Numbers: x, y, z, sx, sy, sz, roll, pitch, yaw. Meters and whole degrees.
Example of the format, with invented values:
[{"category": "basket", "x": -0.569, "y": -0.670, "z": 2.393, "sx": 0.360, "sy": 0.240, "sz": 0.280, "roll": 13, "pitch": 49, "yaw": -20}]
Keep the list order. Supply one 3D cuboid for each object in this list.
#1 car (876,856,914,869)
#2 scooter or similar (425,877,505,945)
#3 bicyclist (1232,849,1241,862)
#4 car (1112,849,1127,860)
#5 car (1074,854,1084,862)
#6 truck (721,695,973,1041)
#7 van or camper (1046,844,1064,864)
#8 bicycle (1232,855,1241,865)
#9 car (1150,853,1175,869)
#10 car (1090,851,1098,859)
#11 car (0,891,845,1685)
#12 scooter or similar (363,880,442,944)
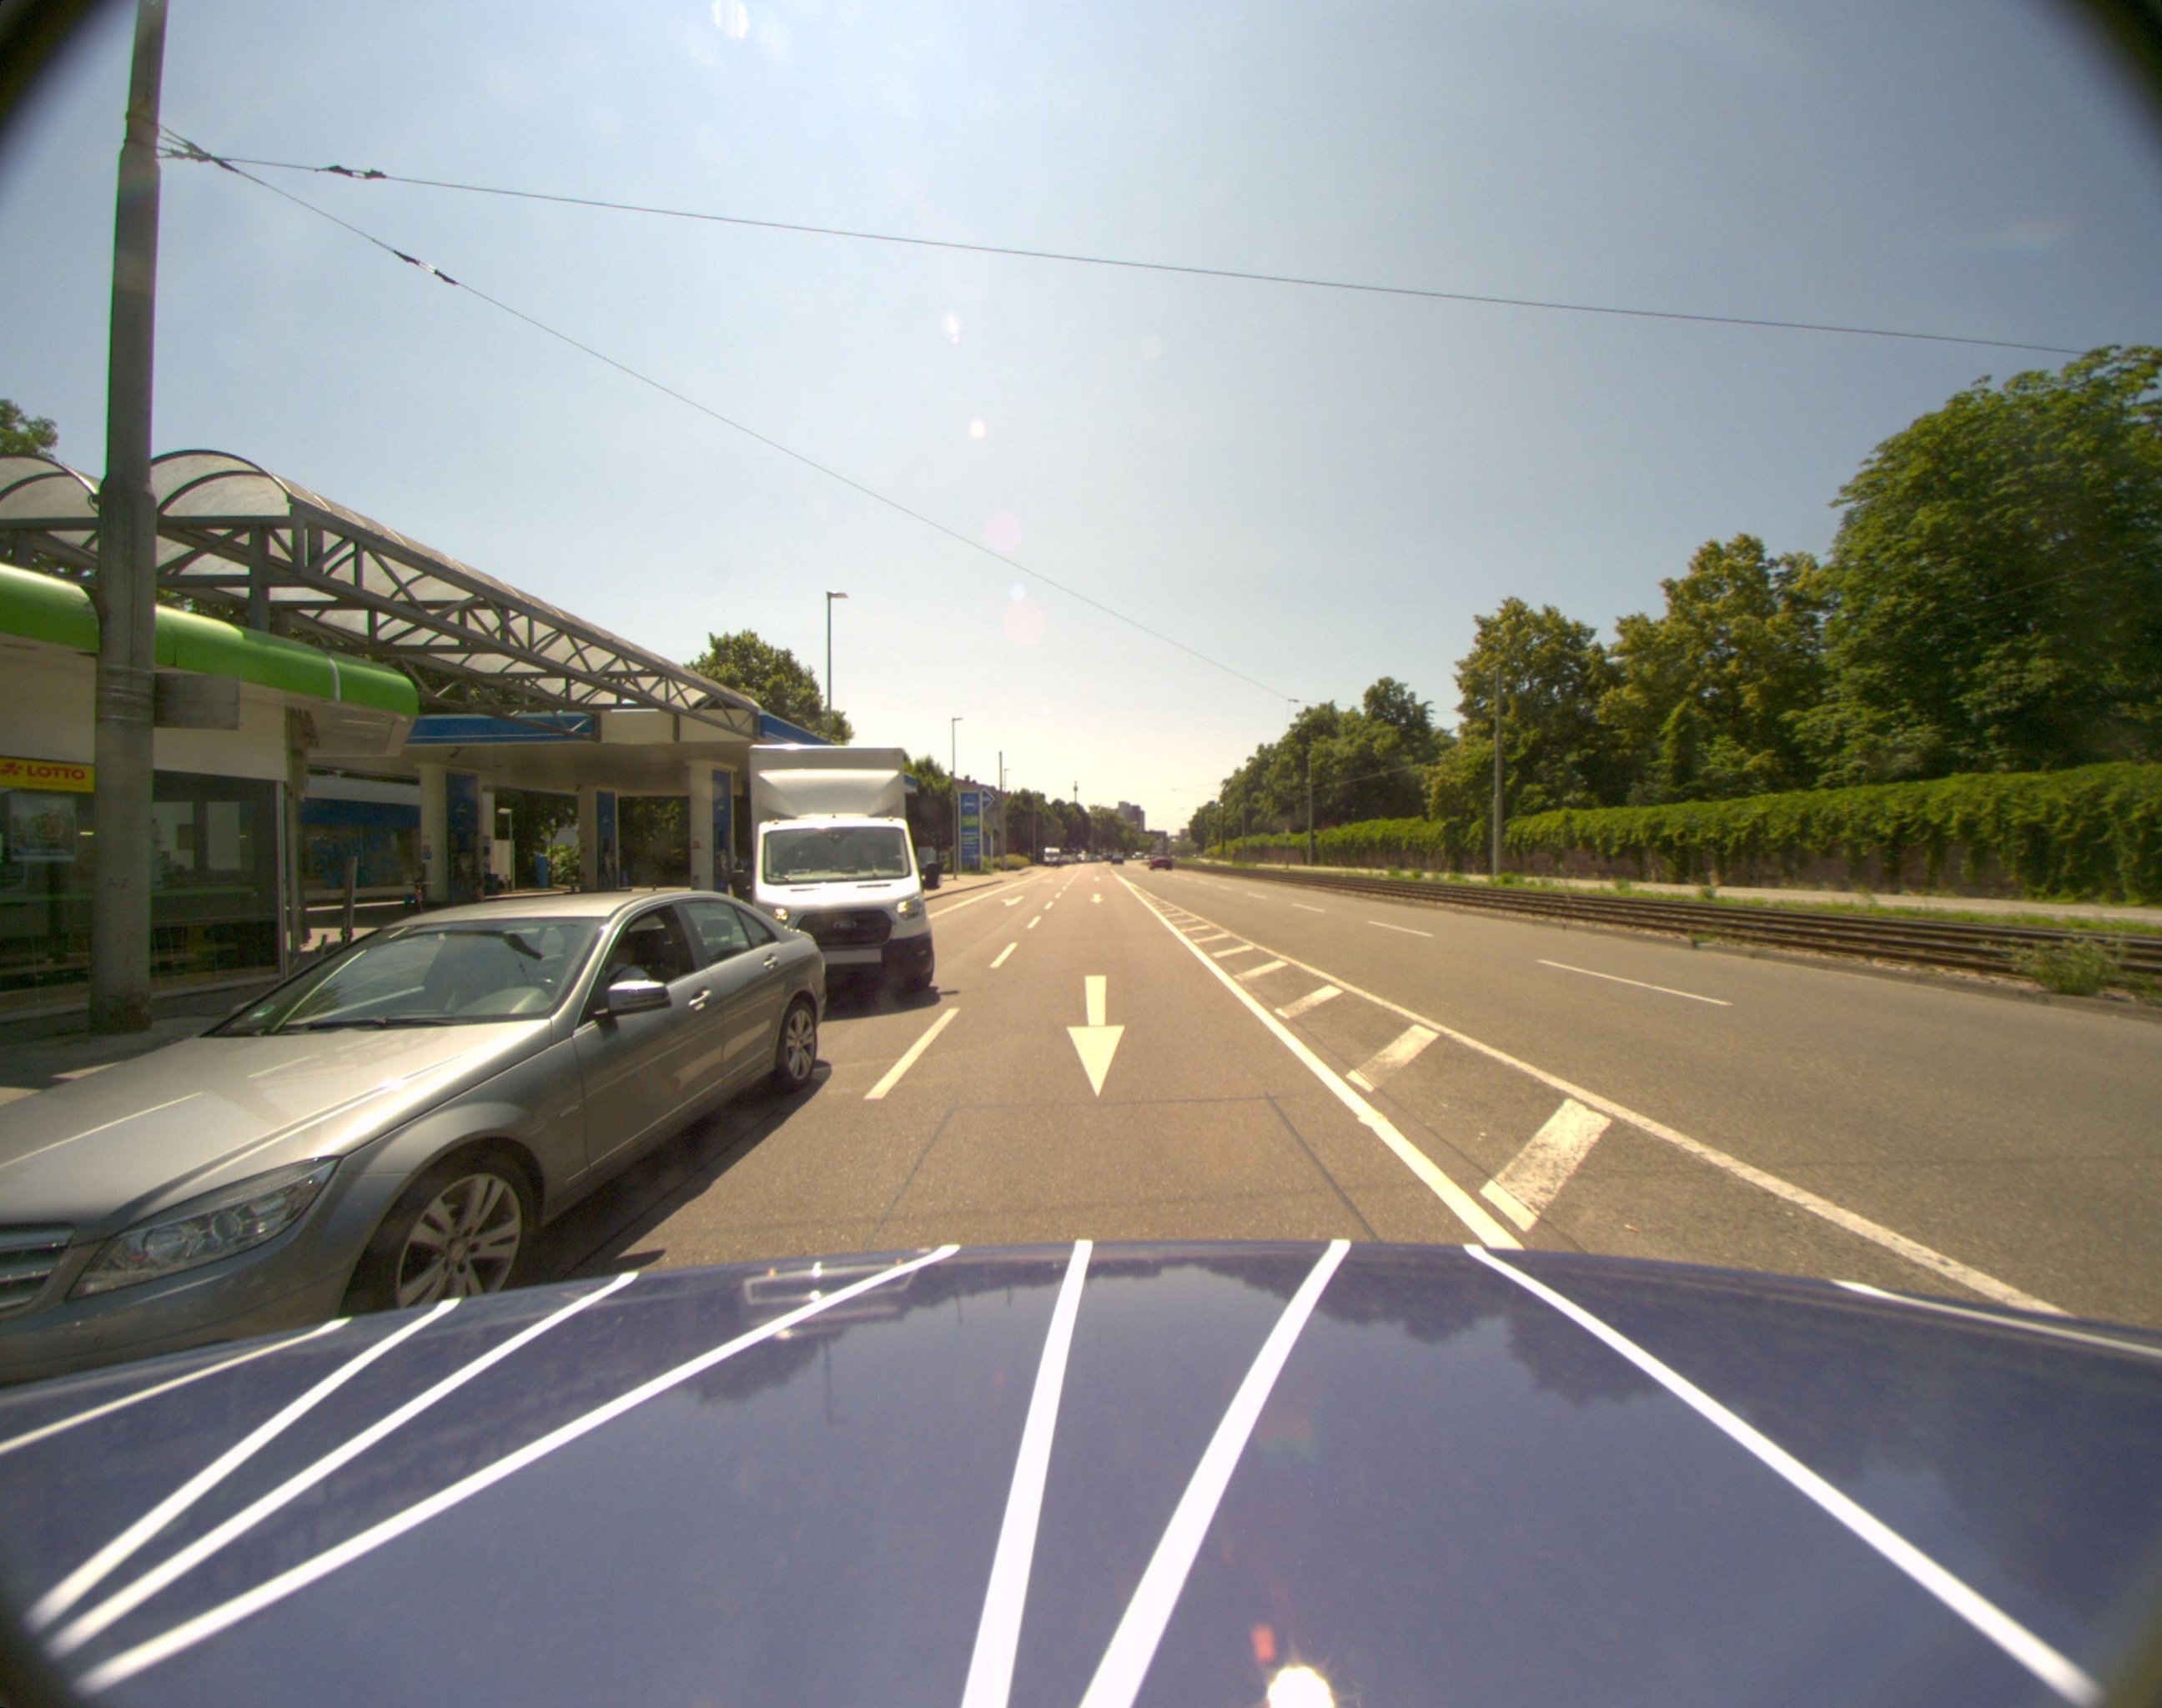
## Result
[{"category": "car", "x": -23.491, "y": 1.030, "z": 96.016, "sx": 4.221, "sy": 1.512, "sz": 2.001, "roll": -1, "pitch": 0, "yaw": 9}, {"category": "scooter or similar", "x": -11.679, "y": 1.070, "z": 14.418, "sx": 1.176, "sy": 1.233, "sz": 0.412, "roll": -1, "pitch": 1, "yaw": 2}, {"category": "bicyclist", "x": 18.949, "y": 0.194, "z": 92.711, "sx": 0.996, "sy": 1.477, "sz": 1.000, "roll": -1, "pitch": 1, "yaw": 6}, {"category": "car", "x": 5.672, "y": 0.068, "z": 111.314, "sx": 1.998, "sy": 1.608, "sz": 4.000, "roll": -1, "pitch": 0, "yaw": 1}, {"category": "car", "x": -0.427, "y": 0.791, "z": 150.452, "sx": 1.725, "sy": 1.586, "sz": 4.001, "roll": -1, "pitch": 0, "yaw": 4}, {"category": "truck", "x": -3.722, "y": 0.128, "z": 11.486, "sx": 2.430, "sy": 3.372, "sz": 7.819, "roll": -1, "pitch": 0, "yaw": -21}, {"category": "van or camper", "x": -3.488, "y": -0.001, "z": 101.677, "sx": 2.126, "sy": 2.469, "sz": 5.993, "roll": 2, "pitch": 0, "yaw": 0}, {"category": "bicycle", "x": 18.939, "y": 0.709, "z": 92.408, "sx": 0.830, "sy": 1.149, "sz": 2.686, "roll": -1, "pitch": 0, "yaw": 6}, {"category": "car", "x": 7.657, "y": 0.640, "z": 71.628, "sx": 1.989, "sy": 1.350, "sz": 4.538, "roll": -1, "pitch": 0, "yaw": 2}, {"category": "car", "x": 2.927, "y": 0.221, "z": 170.428, "sx": 1.806, "sy": 1.585, "sz": 4.000, "roll": -1, "pitch": 0, "yaw": 2}, {"category": "car", "x": -2.860, "y": 1.040, "z": 3.829, "sx": 1.800, "sy": 1.441, "sz": 4.418, "roll": -1, "pitch": 0, "yaw": 2}, {"category": "scooter or similar", "x": -12.879, "y": 1.102, "z": 14.427, "sx": 1.138, "sy": 1.170, "sz": 0.384, "roll": -1, "pitch": 1, "yaw": 2}]
